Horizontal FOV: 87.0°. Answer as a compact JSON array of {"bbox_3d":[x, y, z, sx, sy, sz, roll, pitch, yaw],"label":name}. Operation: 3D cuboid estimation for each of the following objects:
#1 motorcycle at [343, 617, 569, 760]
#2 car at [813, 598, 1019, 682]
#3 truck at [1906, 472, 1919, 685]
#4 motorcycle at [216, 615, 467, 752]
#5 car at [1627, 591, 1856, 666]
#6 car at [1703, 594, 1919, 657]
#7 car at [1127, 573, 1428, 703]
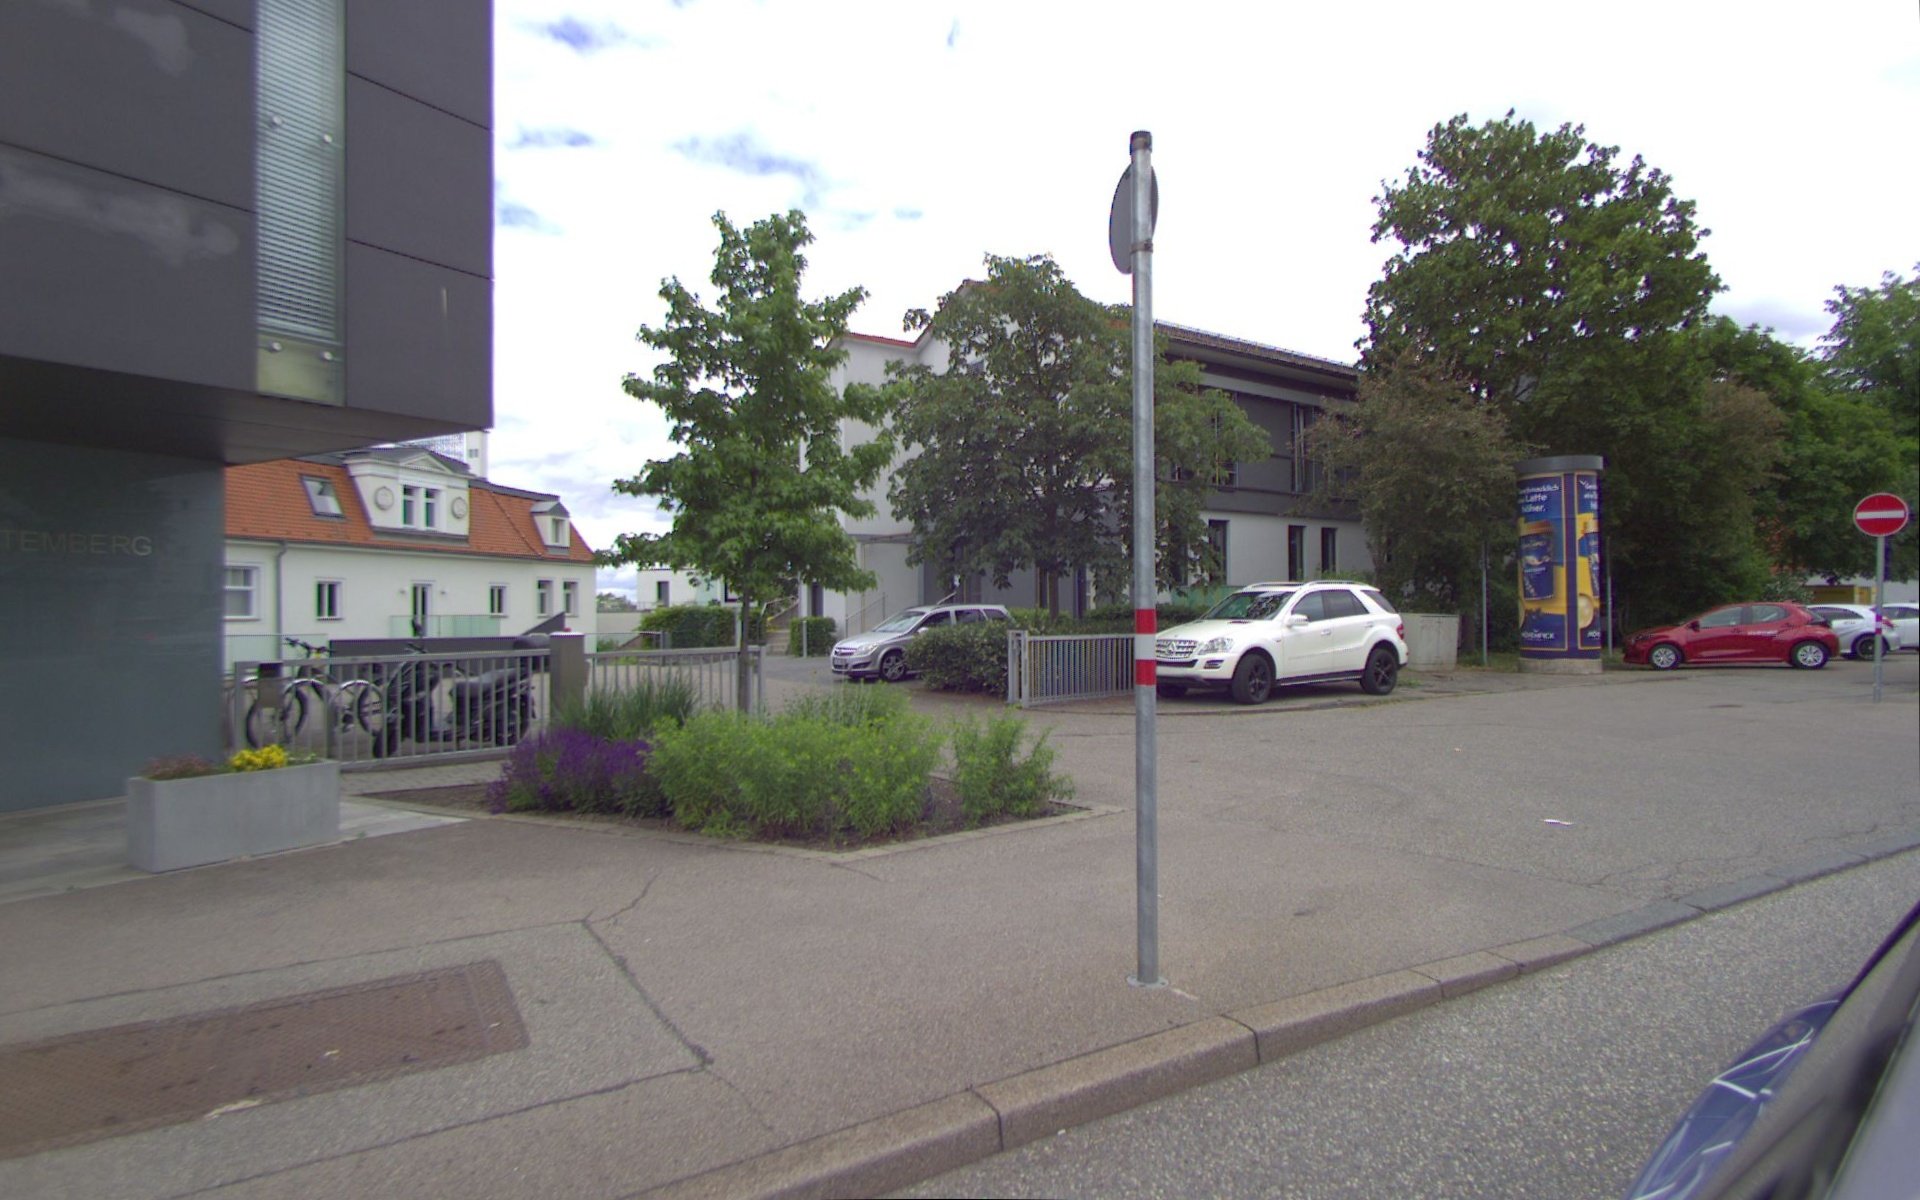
[{"bbox_3d":[-5.411,0.887,10.988,0.667,1.411,2.092,-1,-2,41],"label":"motorcycle"},{"bbox_3d":[-0.863,0.777,21.359,4.140,1.502,1.620,-2,1,-37],"label":"car"},{"bbox_3d":[19.569,-0.418,17.297,7.618,3.470,2.546,-1,0,-28],"label":"truck"},{"bbox_3d":[-7.143,0.896,11.823,0.667,1.411,2.426,-1,-1,41],"label":"motorcycle"},{"bbox_3d":[17.316,0.658,22.672,3.872,1.502,1.662,-3,-2,36],"label":"car"},{"bbox_3d":[21.501,0.659,25.705,3.963,1.428,1.509,-3,-1,29],"label":"car"},{"bbox_3d":[5.012,0.510,15.826,4.628,1.780,1.860,0,0,-30],"label":"car"}]
